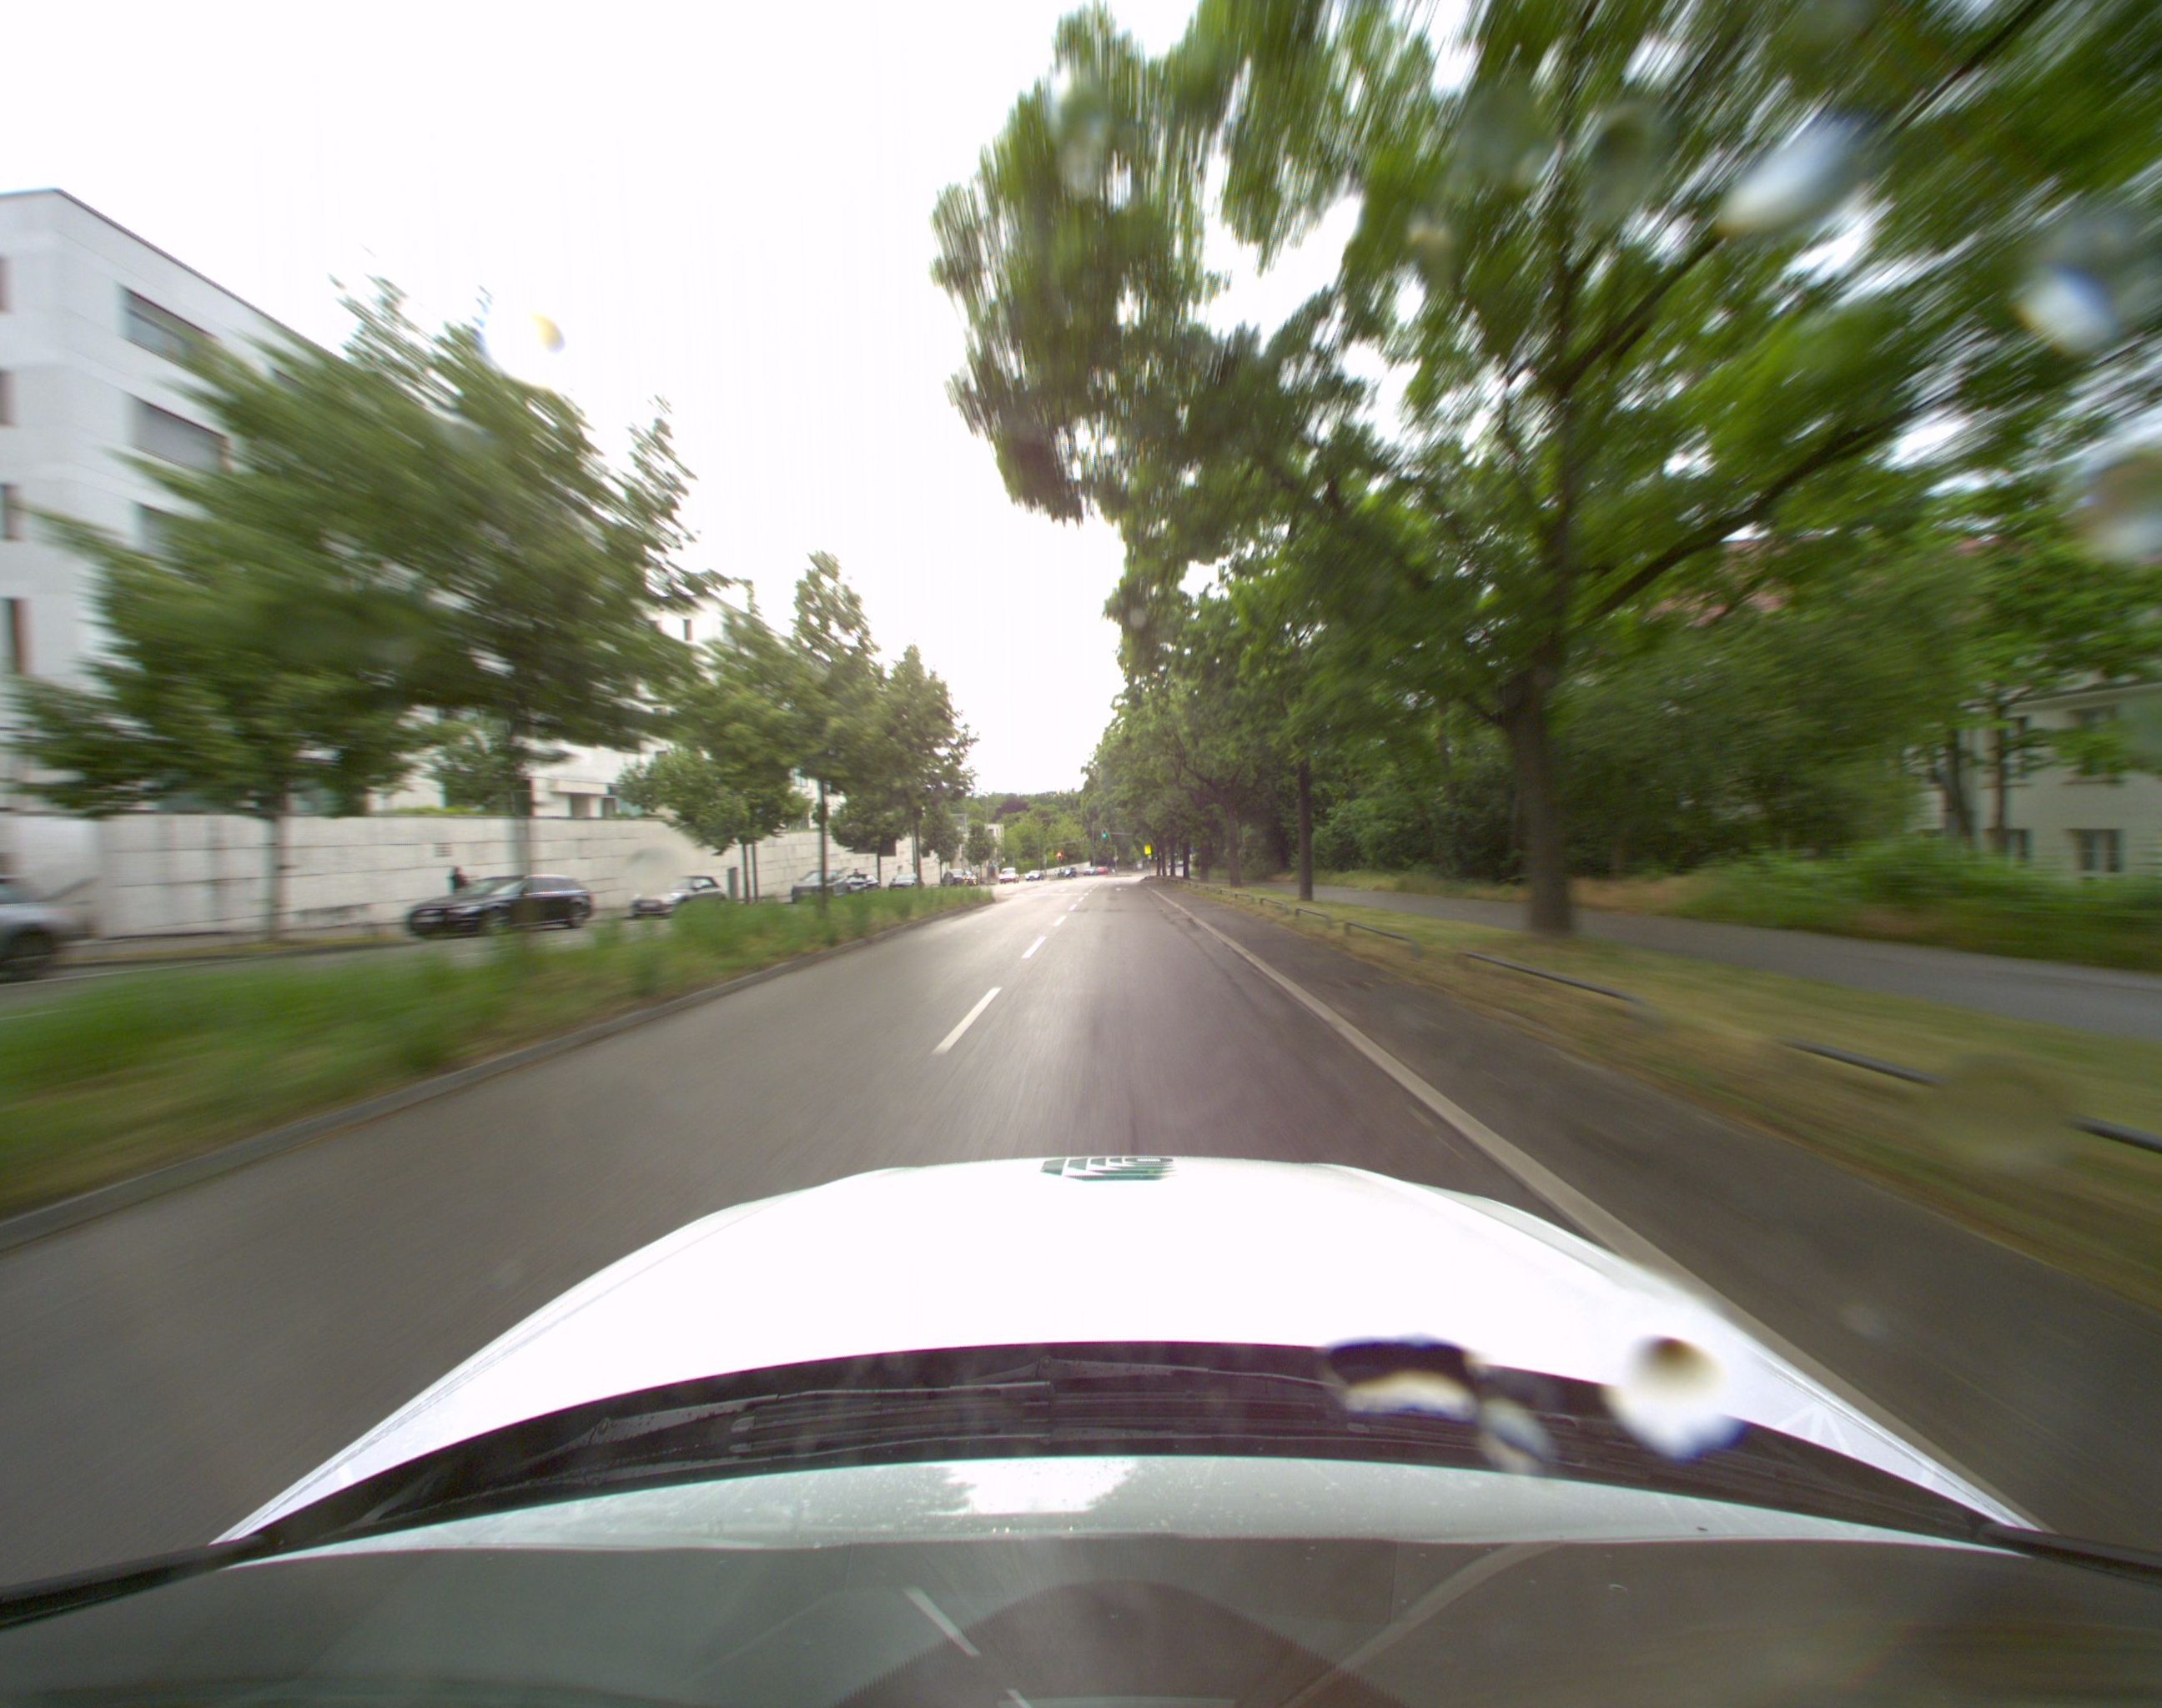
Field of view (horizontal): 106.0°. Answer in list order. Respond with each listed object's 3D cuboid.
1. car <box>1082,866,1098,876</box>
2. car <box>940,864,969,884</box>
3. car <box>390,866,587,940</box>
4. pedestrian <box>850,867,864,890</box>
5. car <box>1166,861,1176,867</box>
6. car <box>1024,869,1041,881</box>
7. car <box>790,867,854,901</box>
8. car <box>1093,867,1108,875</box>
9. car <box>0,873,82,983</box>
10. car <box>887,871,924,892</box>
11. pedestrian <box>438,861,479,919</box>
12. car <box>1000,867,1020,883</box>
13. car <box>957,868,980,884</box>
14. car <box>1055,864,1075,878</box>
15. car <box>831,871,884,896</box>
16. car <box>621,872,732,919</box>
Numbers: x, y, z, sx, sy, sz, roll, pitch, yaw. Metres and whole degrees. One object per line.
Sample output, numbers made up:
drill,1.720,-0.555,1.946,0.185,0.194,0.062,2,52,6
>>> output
car,1.705,3.192,152.356,1.838,1.640,4.113,1,0,19
car,-11.928,1.854,77.129,1.850,1.781,4.596,-2,-1,1
car,-14.145,1.101,19.777,1.688,1.581,4.020,-1,-1,3
pedestrian,-17.853,1.937,64.864,0.705,1.774,1.022,-2,-1,2
car,23.371,2.557,210.612,1.698,1.461,3.769,-1,-1,21
car,-6.607,2.856,111.366,1.763,1.381,4.192,-4,-1,2
car,-13.189,1.527,41.714,1.696,1.620,4.364,-2,-2,2
car,3.863,3.268,159.170,1.860,1.575,4.242,1,0,18
car,-14.575,0.938,9.301,1.689,1.385,3.699,0,-1,1
car,-12.488,1.925,58.088,1.673,1.426,3.966,-1,-1,1
pedestrian,-19.634,1.117,25.684,0.716,1.775,0.692,-1,0,1
car,-8.126,2.348,93.461,1.704,1.746,4.339,-2,-1,1
car,-11.452,2.214,82.941,1.672,1.515,3.712,-1,-1,2
car,-2.554,2.741,130.905,1.906,1.857,4.525,-6,-1,15
car,-12.964,1.686,47.550,1.688,1.360,4.166,-2,-1,3
car,-13.861,1.378,28.172,1.687,1.444,3.864,-1,0,4
